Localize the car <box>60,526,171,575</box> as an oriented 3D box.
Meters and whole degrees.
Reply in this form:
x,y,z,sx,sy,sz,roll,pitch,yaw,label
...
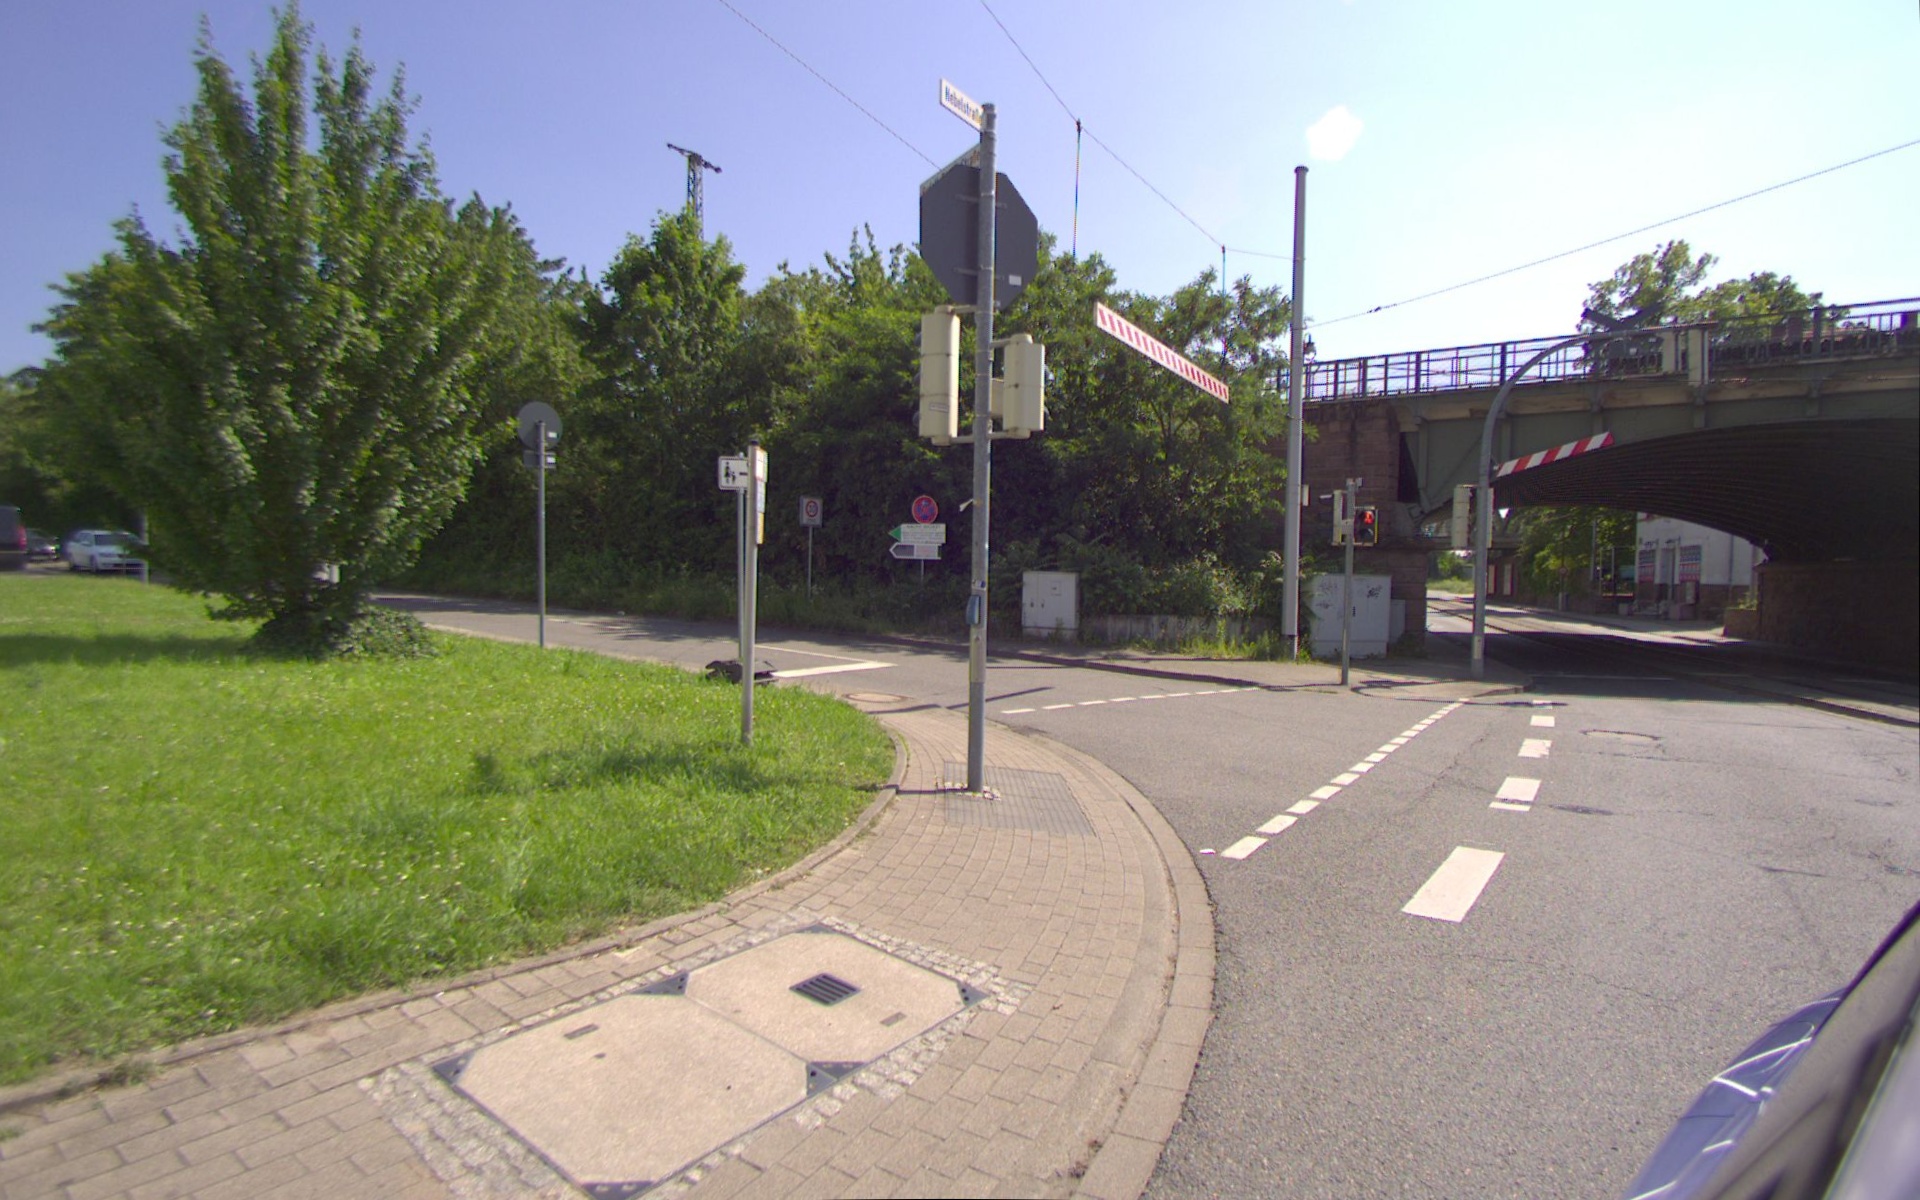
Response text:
x,y,z,sx,sy,sz,roll,pitch,yaw,label
-30.433,-1.807,36.438,4.515,1.529,2.065,4,1,37,car

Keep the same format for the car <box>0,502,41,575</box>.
x,y,z,sx,sy,sz,roll,pitch,yaw,label
-25.990,-1.559,24.548,1.988,1.838,5.199,2,2,35,car

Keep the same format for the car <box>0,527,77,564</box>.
x,y,z,sx,sy,sz,roll,pitch,yaw,label
-38.312,-2.265,41.970,3.713,1.416,1.892,3,2,38,car
